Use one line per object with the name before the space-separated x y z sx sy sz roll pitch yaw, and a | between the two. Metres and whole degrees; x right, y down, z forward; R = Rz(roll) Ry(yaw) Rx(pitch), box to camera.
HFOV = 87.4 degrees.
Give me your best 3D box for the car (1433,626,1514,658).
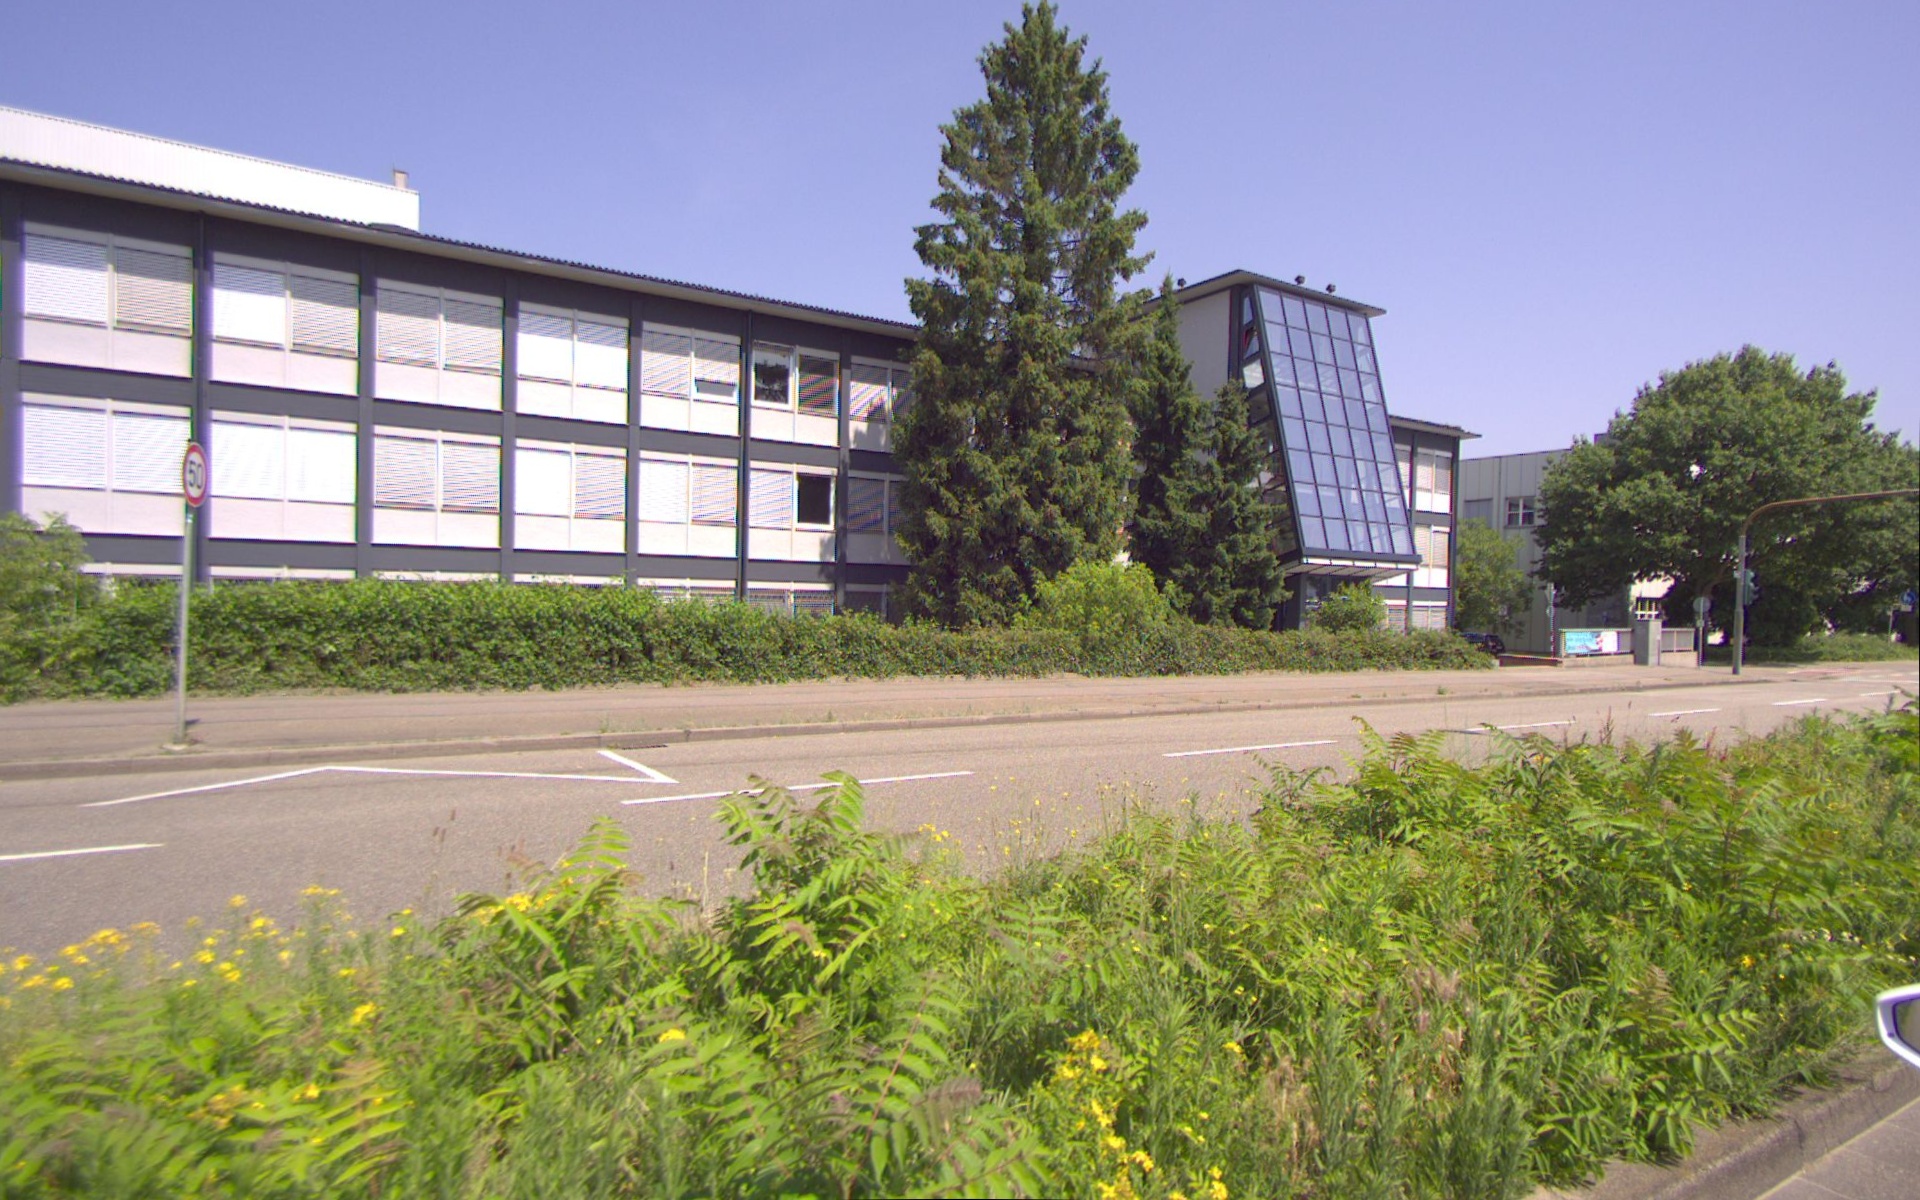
car | 31.162 2.525 61.056 1.899 1.617 3.963 2 1 -33
